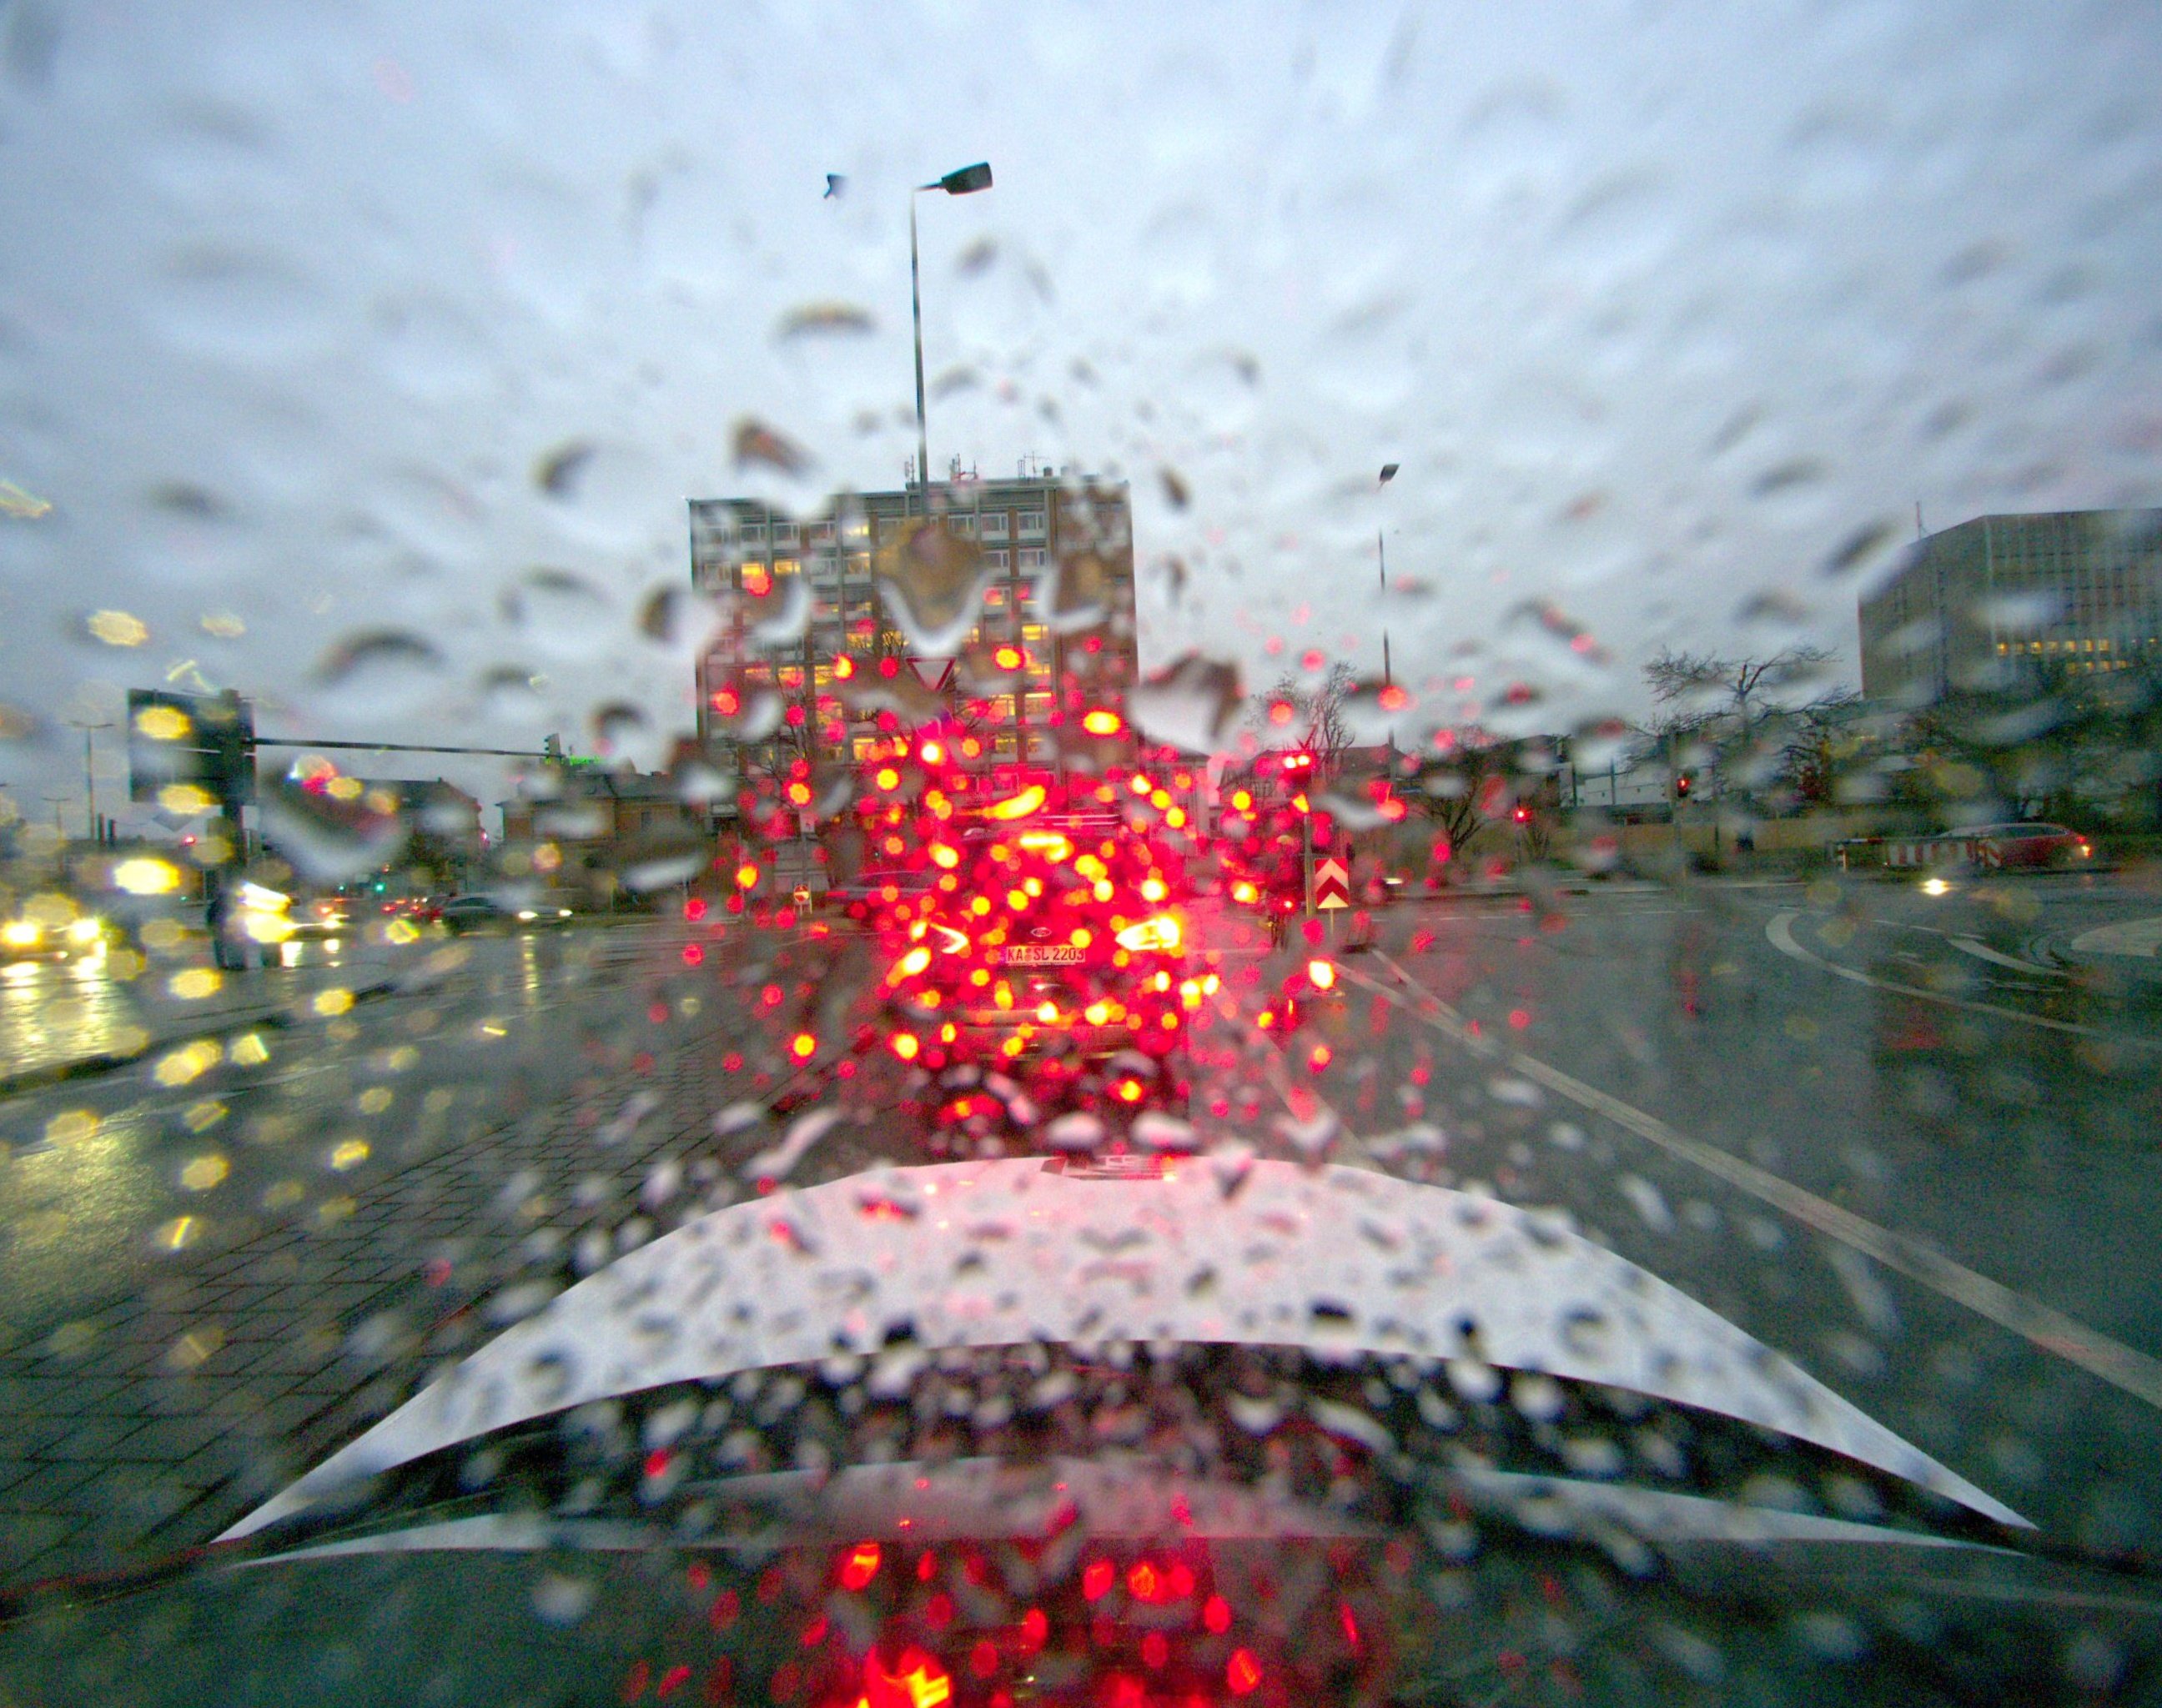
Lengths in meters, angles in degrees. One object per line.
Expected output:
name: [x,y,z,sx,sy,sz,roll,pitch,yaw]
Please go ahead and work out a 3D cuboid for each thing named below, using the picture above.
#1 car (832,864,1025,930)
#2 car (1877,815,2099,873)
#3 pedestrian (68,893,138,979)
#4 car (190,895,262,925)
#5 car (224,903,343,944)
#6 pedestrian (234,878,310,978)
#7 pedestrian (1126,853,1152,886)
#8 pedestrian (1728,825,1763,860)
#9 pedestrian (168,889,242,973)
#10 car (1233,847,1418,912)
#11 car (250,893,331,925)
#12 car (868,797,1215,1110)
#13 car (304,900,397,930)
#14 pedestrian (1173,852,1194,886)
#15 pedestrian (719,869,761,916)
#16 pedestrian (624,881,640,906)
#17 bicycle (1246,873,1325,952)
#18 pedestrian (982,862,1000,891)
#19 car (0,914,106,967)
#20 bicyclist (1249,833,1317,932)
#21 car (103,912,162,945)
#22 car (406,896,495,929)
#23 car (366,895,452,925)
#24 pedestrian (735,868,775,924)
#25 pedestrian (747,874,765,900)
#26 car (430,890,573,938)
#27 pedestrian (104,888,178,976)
car: [-3.972,1.115,21.436,4.545,1.477,1.818,-3,-1,13]
car: [27.571,-0.265,24.887,4.390,1.477,1.814,-3,-1,6]
pedestrian: [-21.459,1.780,17.877,0.741,1.770,0.546,-3,0,-12]
car: [-49.752,3.204,47.385,3.949,1.568,1.838,-1,-1,27]
car: [-33.368,2.900,34.086,4.615,1.477,1.821,-3,-1,22]
pedestrian: [-17.324,1.553,17.462,0.996,2.021,0.792,-3,0,-39]
pedestrian: [3.126,0.830,43.759,1.127,1.720,0.984,-3,0,12]
pedestrian: [32.373,-0.553,39.691,0.957,1.603,0.796,-3,0,6]
pedestrian: [-19.536,1.708,18.181,0.653,1.755,0.856,-3,0,18]
car: [6.503,0.678,22.031,4.545,1.477,1.818,-3,-1,13]
car: [-51.165,3.533,52.768,1.649,1.826,3.609,-1,-1,39]
car: [-0.168,0.590,6.686,1.986,1.789,4.001,0,-1,2]
car: [-43.827,3.624,48.914,1.582,1.482,3.840,-1,-1,31]
pedestrian: [5.649,0.799,44.941,0.990,1.799,0.922,-3,0,10]
pedestrian: [-14.425,1.603,34.491,0.992,1.842,1.146,-3,2,24]
pedestrian: [-31.001,2.707,56.199,0.634,1.688,0.640,-3,0,18]
bicycle: [3.095,0.852,12.522,0.780,1.075,1.958,0,-1,2]
pedestrian: [-5.152,1.271,46.503,0.755,1.628,0.723,-3,0,9]
car: [-36.346,3.010,28.448,3.952,1.577,1.785,-3,0,22]
bicyclist: [3.083,0.428,12.536,0.780,1.453,1.134,0,-1,2]
car: [-48.907,3.823,42.053,4.611,1.477,1.822,-4,-1,42]
car: [-33.335,3.057,43.073,3.954,1.568,1.836,-1,-1,20]
car: [-38.409,3.177,46.616,1.496,1.461,3.453,-1,-1,31]
pedestrian: [-12.167,1.552,30.443,0.922,1.978,0.962,-3,0,8]
pedestrian: [-20.975,2.112,52.559,0.753,1.628,0.560,-3,0,16]
car: [-20.908,2.171,29.392,4.617,1.477,1.820,-3,-1,19]
pedestrian: [-20.774,1.707,18.015,0.733,1.838,0.674,-3,0,-11]
